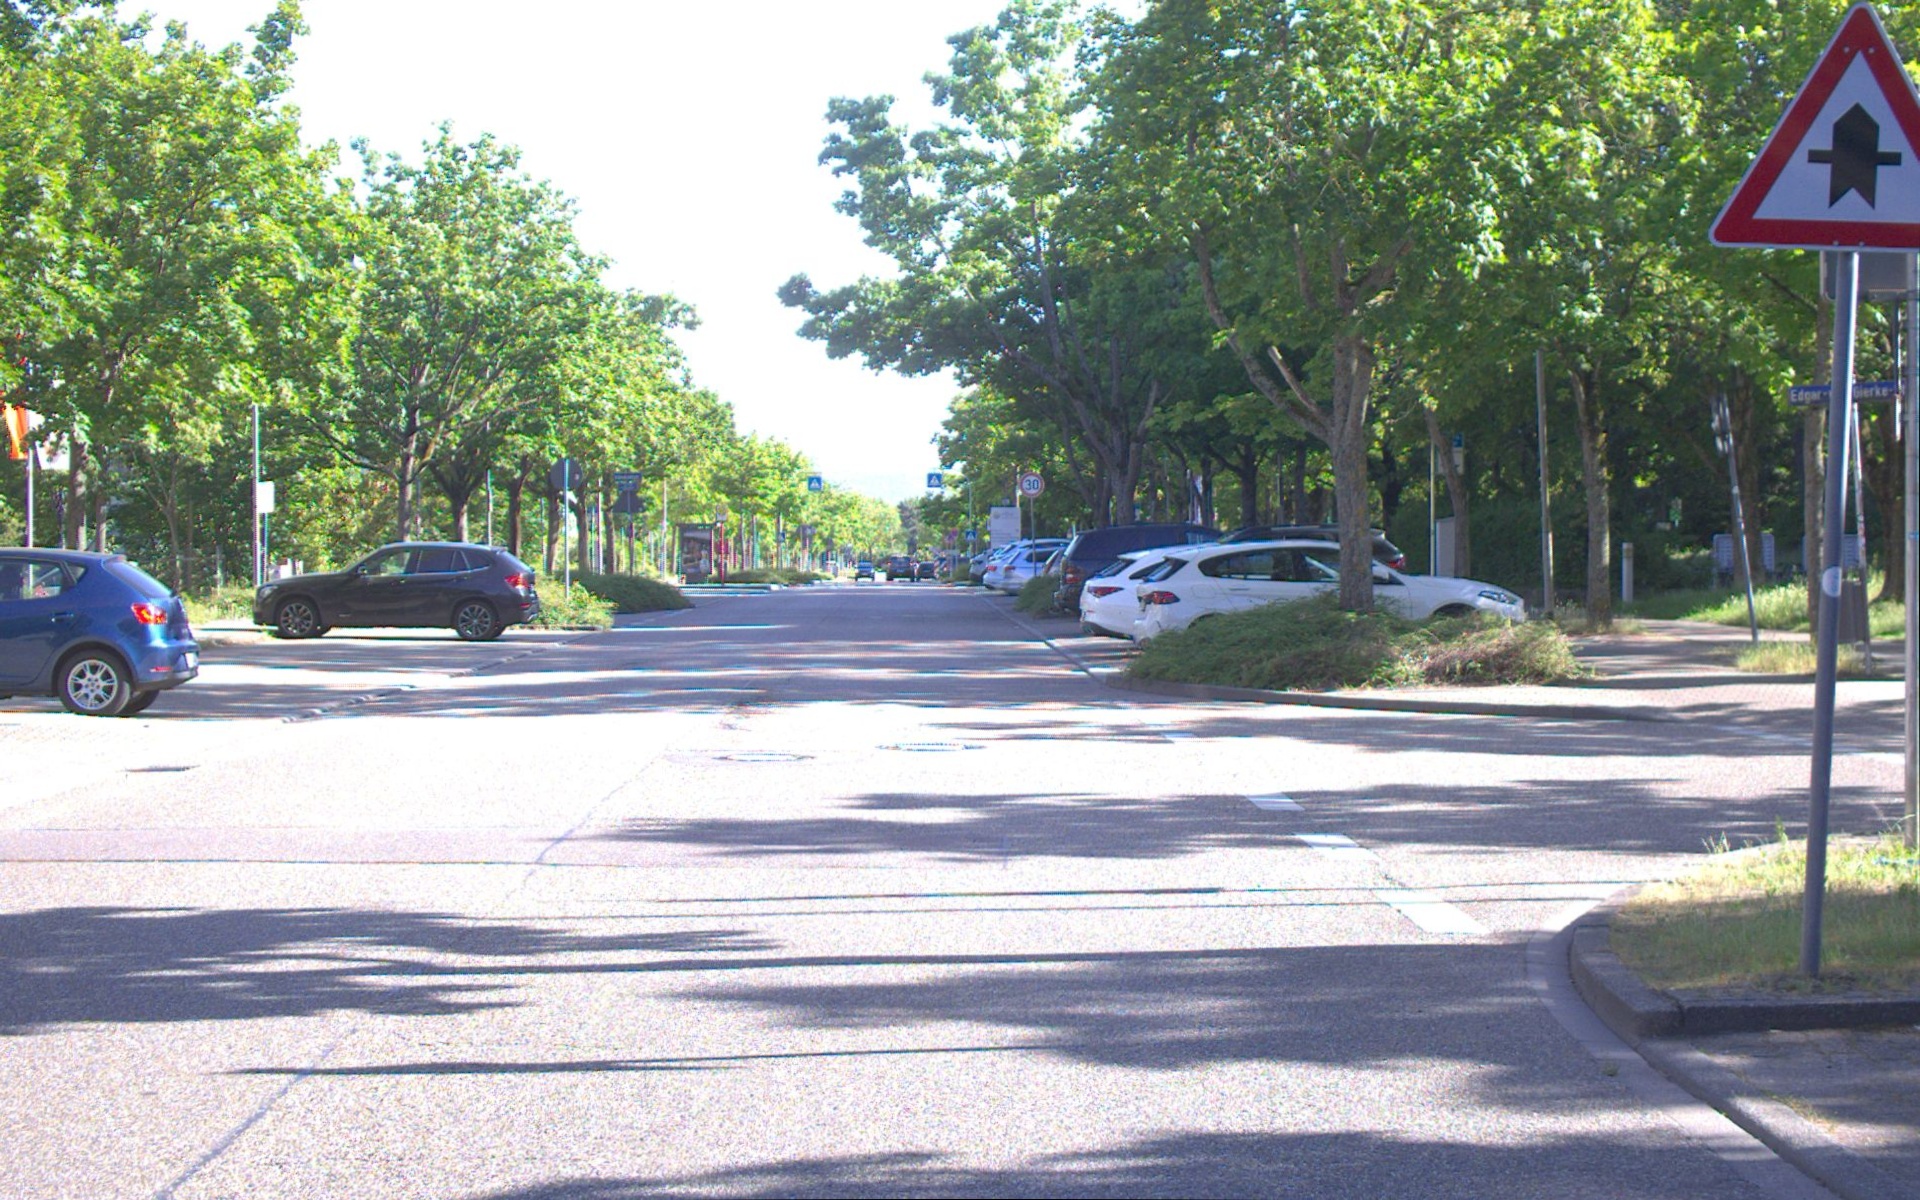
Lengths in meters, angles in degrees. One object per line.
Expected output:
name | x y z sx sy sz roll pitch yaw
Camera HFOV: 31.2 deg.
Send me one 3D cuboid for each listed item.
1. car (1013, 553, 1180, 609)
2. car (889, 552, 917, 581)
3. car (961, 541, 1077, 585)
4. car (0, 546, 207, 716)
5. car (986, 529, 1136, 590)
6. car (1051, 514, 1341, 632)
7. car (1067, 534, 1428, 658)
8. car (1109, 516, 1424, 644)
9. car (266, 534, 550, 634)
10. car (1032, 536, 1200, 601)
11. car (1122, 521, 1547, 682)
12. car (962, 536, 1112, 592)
car | 3.558 -0.496 89.096 4.275 1.423 1.827 0 1 4
car | -4.088 -2.407 247.051 1.993 2.006 4.000 1 2 0
car | 2.163 -1.381 127.411 4.164 1.423 2.000 -3 1 -1
car | -8.638 0.238 29.572 3.986 1.407 1.817 0 1 -4
car | 3.088 -1.257 105.749 4.435 1.642 1.816 -3 1 -2
car | 3.853 -0.453 56.670 4.587 1.773 2.000 -2 1 0
car | 3.688 -0.056 44.594 4.441 1.540 1.818 1 1 -3
car | 4.227 -0.268 47.827 4.118 1.612 1.734 -2 0 -2
car | -8.673 -0.259 54.232 4.192 1.515 1.772 1 1 0
car | 3.813 -0.781 84.348 3.987 1.446 1.717 -2 1 0
car | 4.149 -0.001 38.526 4.426 1.587 1.837 -2 1 -3
car | 2.299 -1.089 103.044 4.342 1.484 1.738 -3 1 -2
